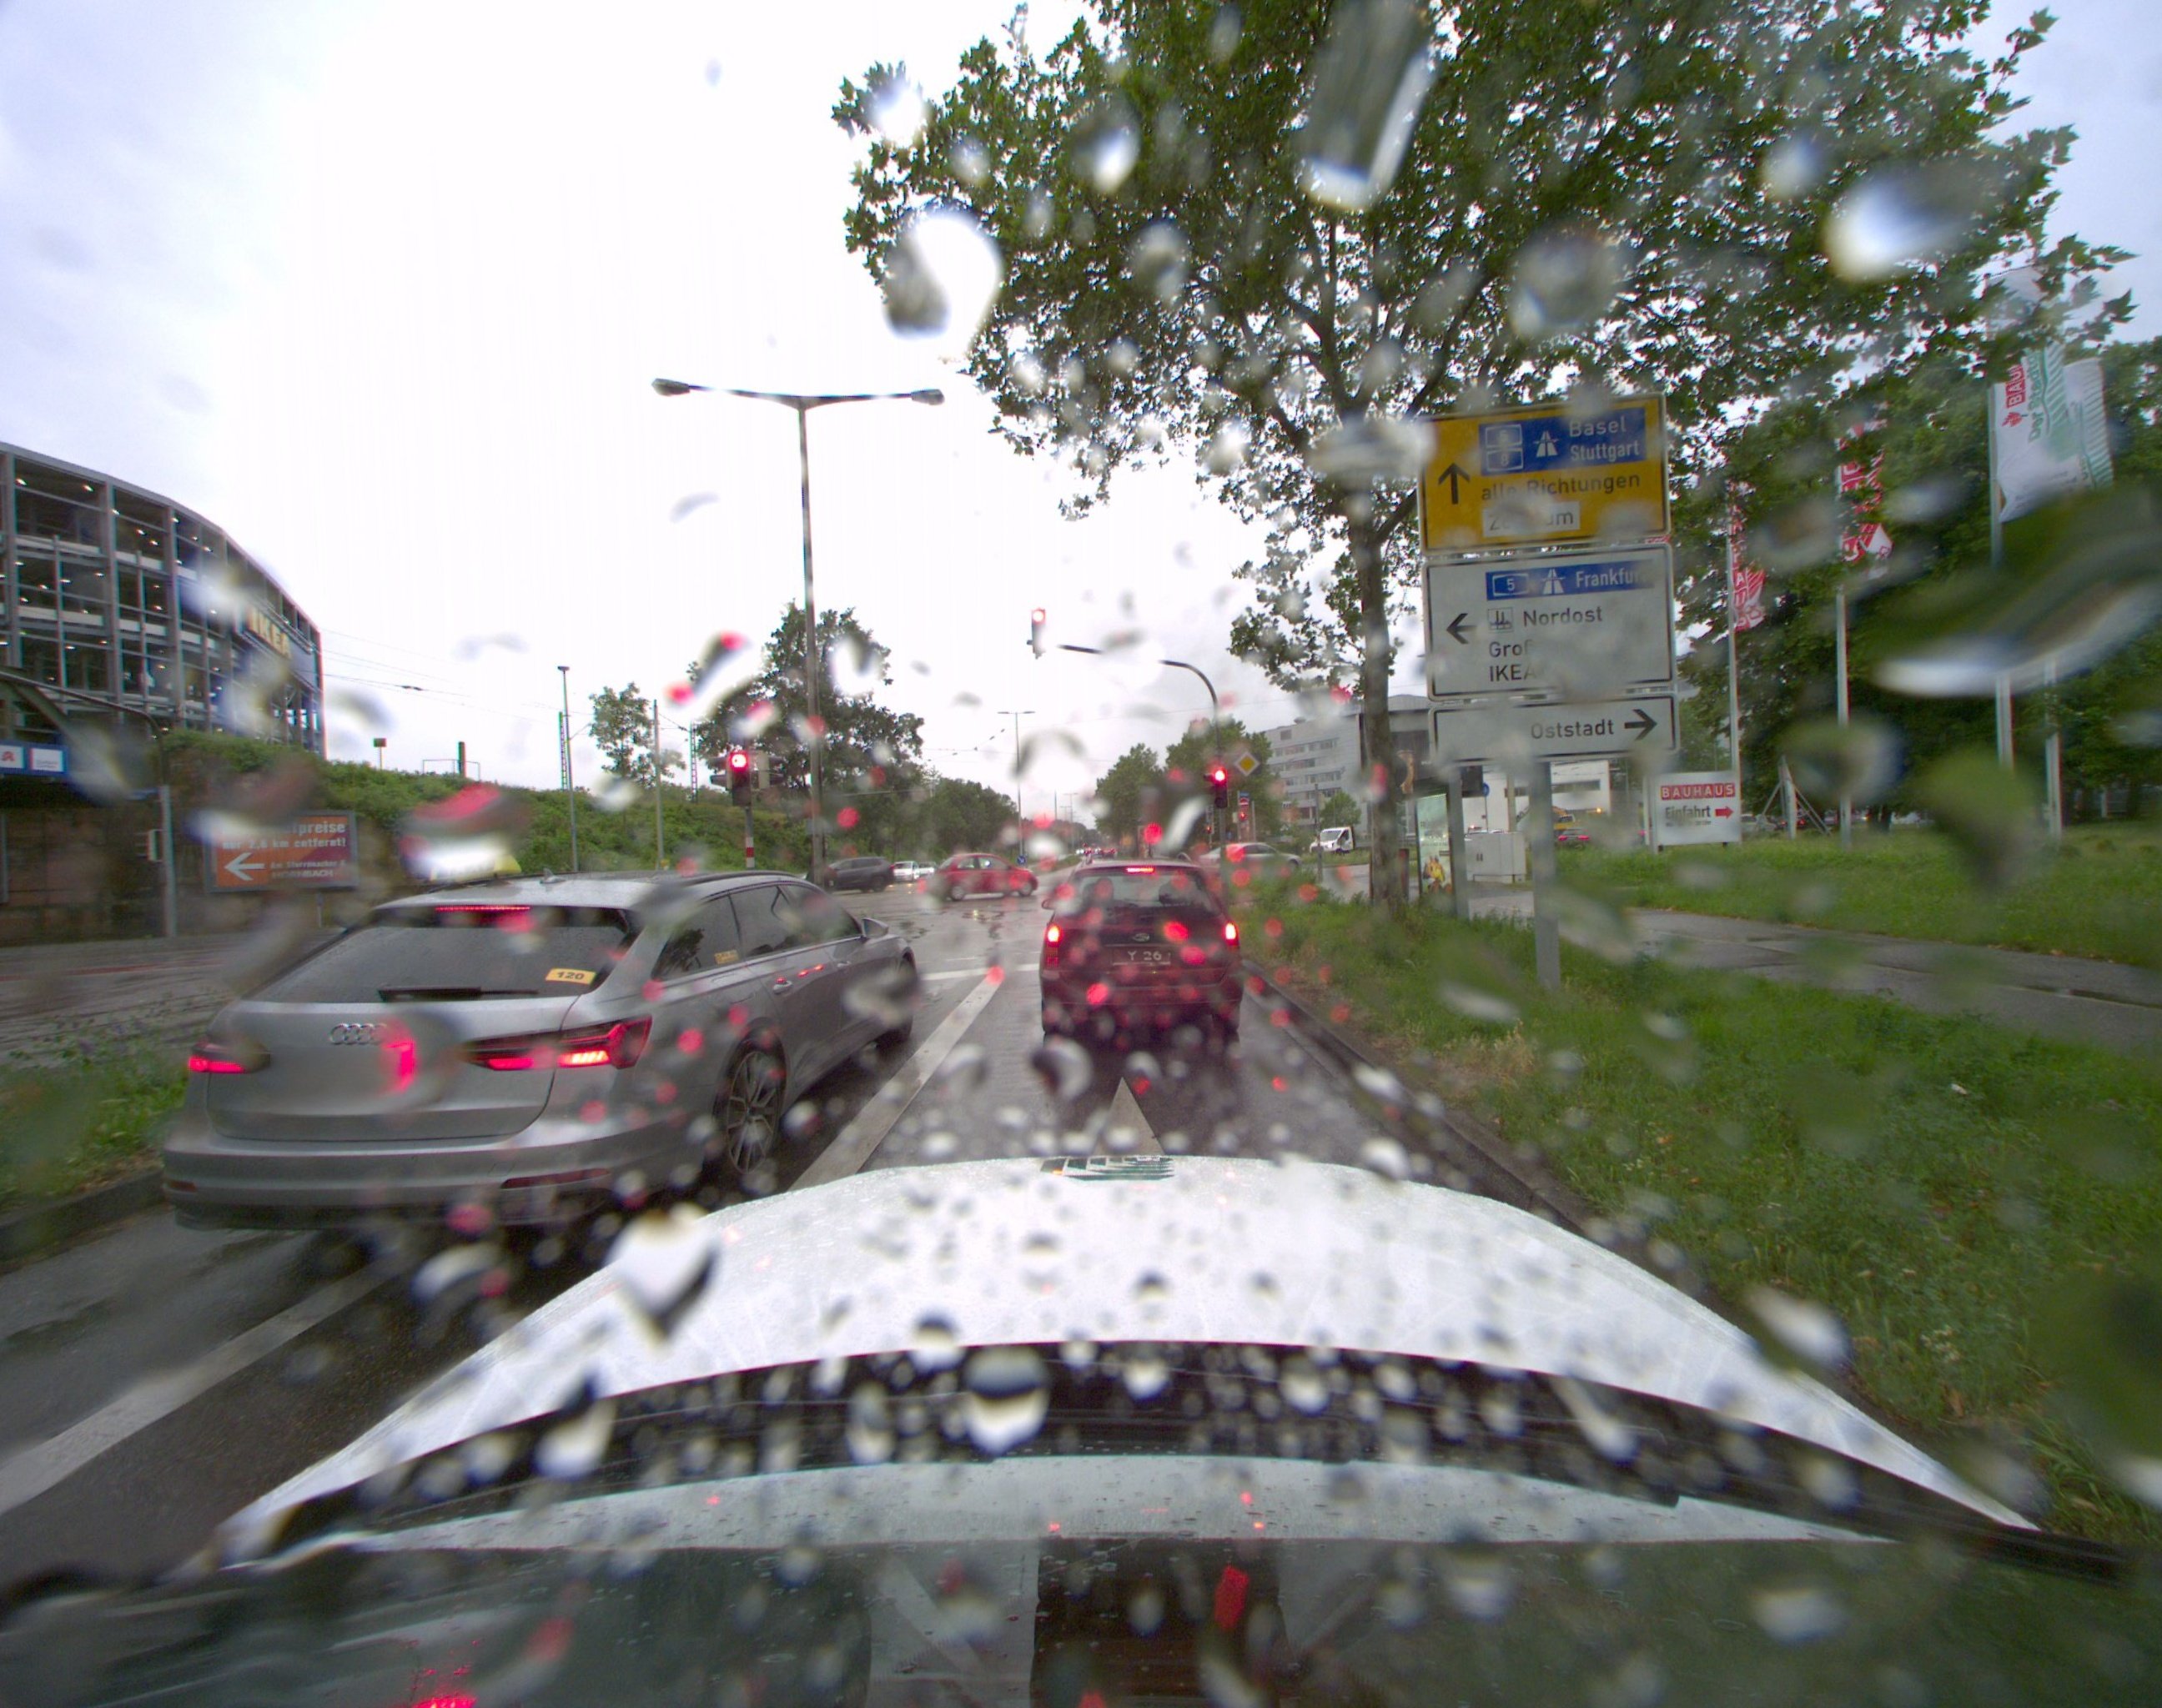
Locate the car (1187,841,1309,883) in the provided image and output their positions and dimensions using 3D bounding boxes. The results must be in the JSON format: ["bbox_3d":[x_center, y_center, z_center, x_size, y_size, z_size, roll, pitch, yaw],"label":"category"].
[{"bbox_3d":[6.880,0.306,33.486,4.845,1.491,1.909,-2,0,-30],"label":"car"}]

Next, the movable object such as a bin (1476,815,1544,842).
[{"bbox_3d":[53.768,-3.171,102.172,3.342,2.995,6.650,-3,0,-34],"label":"movable object such as a bin"}]

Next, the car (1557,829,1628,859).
[{"bbox_3d":[30.649,-0.596,48.736,4.645,1.586,1.906,-2,-1,-35],"label":"car"}]

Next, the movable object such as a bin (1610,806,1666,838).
[{"bbox_3d":[66.843,-3.832,97.660,6.347,3.507,3.293,-3,0,-34],"label":"movable object such as a bin"}]

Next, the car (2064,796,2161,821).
[{"bbox_3d":[88.535,-3.893,69.319,2.286,1.731,5.899,-3,0,-33],"label":"car"}]

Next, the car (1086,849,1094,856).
[{"bbox_3d":[2.165,-0.328,202.454,1.691,1.528,3.849,-3,0,3],"label":"car"}]

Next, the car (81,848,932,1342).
[{"bbox_3d":[-2.288,0.762,5.029,1.763,1.574,4.822,0,0,1],"label":"car"}]

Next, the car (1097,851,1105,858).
[{"bbox_3d":[4.649,0.080,192.693,1.691,1.528,3.849,-3,0,3],"label":"car"}]

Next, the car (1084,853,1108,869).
[{"bbox_3d":[1.728,0.854,94.801,1.994,1.790,3.984,0,-1,-11],"label":"car"}]

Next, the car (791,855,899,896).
[{"bbox_3d":[-10.471,0.937,36.291,4.264,1.559,1.728,-3,0,-35],"label":"car"}]

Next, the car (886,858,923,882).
[{"bbox_3d":[-11.981,1.059,55.557,1.633,1.452,3.786,-3,0,0],"label":"car"}]

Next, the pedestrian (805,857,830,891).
[{"bbox_3d":[-14.954,1.102,46.210,1.102,1.847,1.126,-3,0,-10],"label":"pedestrian"}]

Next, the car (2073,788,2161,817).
[{"bbox_3d":[81.435,-4.029,64.044,1.774,2.049,4.233,-3,1,-41],"label":"car"}]

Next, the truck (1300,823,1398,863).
[{"bbox_3d":[17.830,-0.727,53.917,6.897,2.365,2.455,-3,0,-35],"label":"truck"}]

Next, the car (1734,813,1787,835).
[{"bbox_3d":[52.197,-2.305,62.534,4.645,1.586,1.907,-2,-1,-34],"label":"car"}]

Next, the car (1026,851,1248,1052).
[{"bbox_3d":[0.446,0.714,7.888,1.636,1.465,3.733,0,0,1],"label":"car"}]

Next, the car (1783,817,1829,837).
[{"bbox_3d":[63.501,-2.330,71.305,4.645,1.586,1.907,-2,-1,-34],"label":"car"}]

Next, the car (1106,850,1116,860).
[{"bbox_3d":[5.298,0.176,142.946,1.664,1.528,3.849,-3,0,3],"label":"car"}]

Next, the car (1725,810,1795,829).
[{"bbox_3d":[67.662,-3.443,81.271,1.888,1.655,5.009,0,-1,-32],"label":"car"}]

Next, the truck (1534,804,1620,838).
[{"bbox_3d":[57.967,-3.822,95.390,3.342,3.507,7.806,-3,0,-33],"label":"truck"}]

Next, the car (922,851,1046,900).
[{"bbox_3d":[-3.292,0.698,27.647,3.827,1.491,1.663,-2,0,-28],"label":"car"}]

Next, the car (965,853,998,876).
[{"bbox_3d":[-8.773,0.920,72.078,2.058,1.819,5.542,-3,0,1],"label":"car"}]

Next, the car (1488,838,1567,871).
[{"bbox_3d":[24.754,0.017,45.111,4.644,1.586,1.907,-2,-1,-34],"label":"car"}]

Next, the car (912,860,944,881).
[{"bbox_3d":[-11.578,1.218,61.878,1.585,1.404,3.823,-3,0,1],"label":"car"}]
